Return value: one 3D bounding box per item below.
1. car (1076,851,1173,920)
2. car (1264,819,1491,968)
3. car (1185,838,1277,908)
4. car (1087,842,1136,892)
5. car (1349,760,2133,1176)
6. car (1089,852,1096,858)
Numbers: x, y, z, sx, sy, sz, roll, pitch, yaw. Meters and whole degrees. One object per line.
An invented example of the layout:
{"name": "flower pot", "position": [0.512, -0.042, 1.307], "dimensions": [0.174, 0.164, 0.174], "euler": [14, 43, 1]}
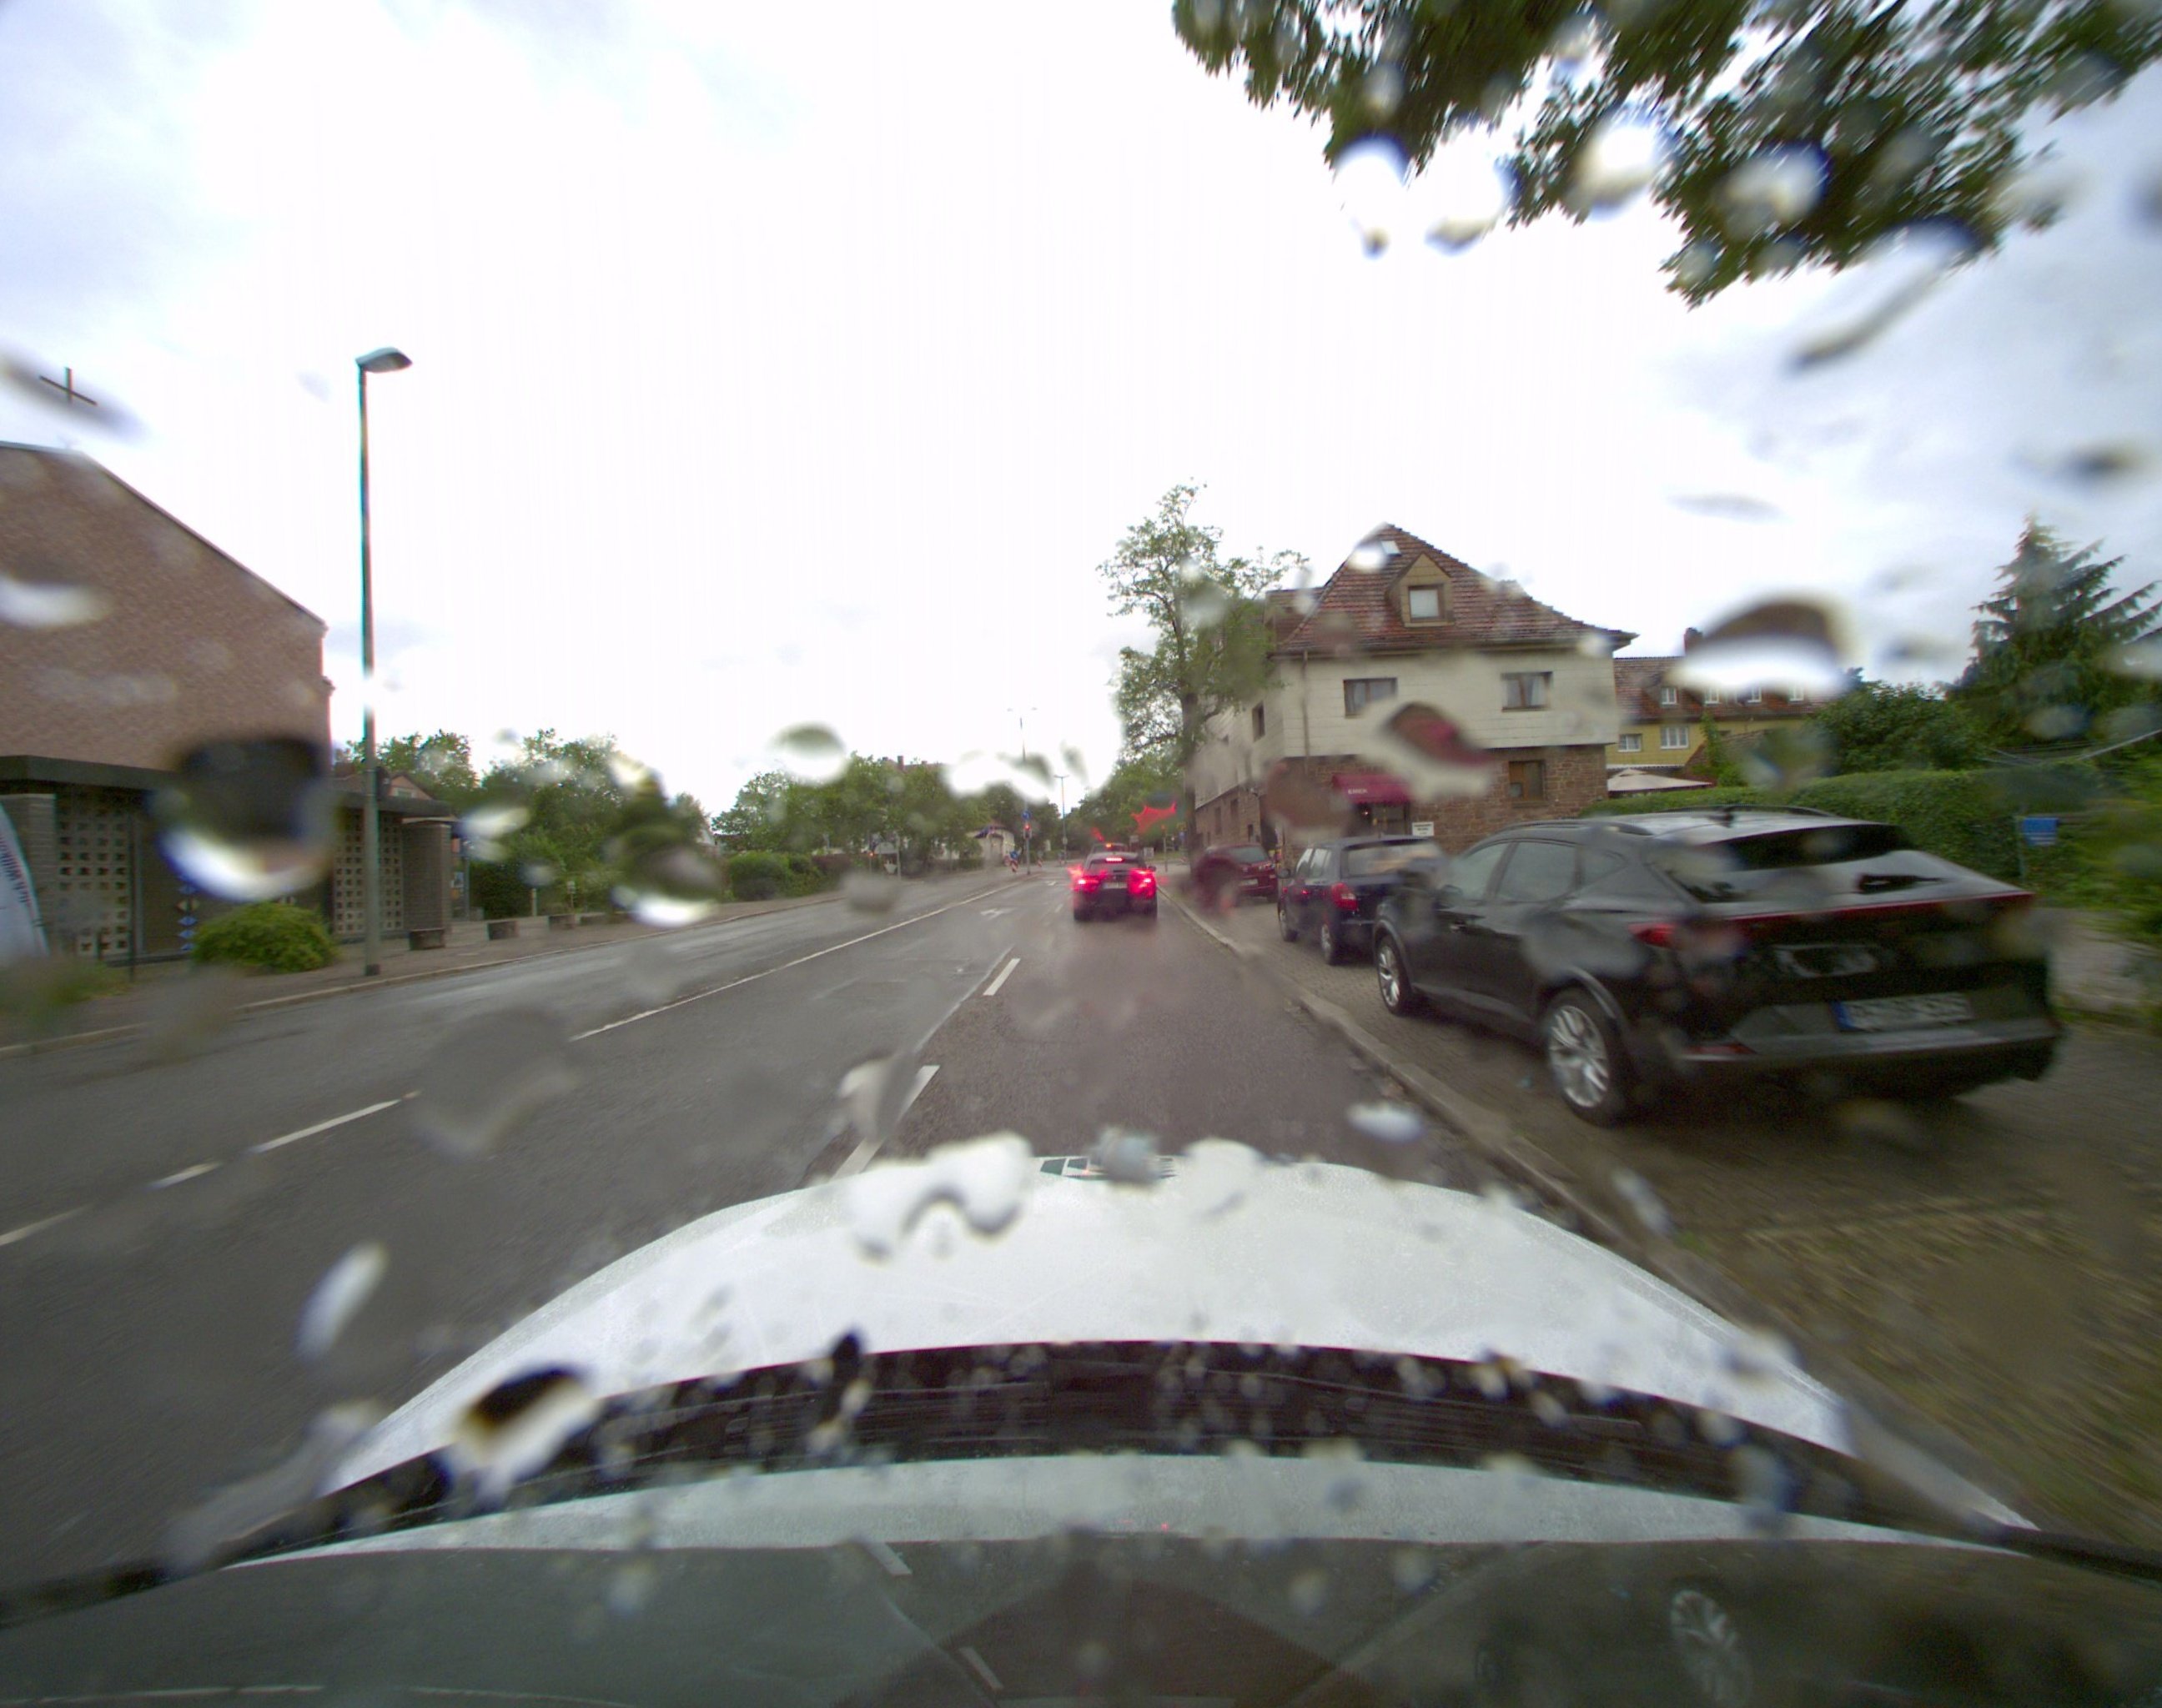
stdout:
{"name": "car", "position": [0.935, 0.681, 19.778], "dimensions": [2.058, 1.446, 4.482], "euler": [-1, 0, 0]}
{"name": "car", "position": [3.649, 0.413, 10.767], "dimensions": [1.598, 1.472, 3.858], "euler": [-5, 0, 2]}
{"name": "car", "position": [3.747, 0.420, 20.915], "dimensions": [1.579, 1.490, 3.627], "euler": [-5, 1, 0]}
{"name": "car", "position": [1.175, 0.483, 32.936], "dimensions": [1.778, 1.817, 4.000], "euler": [-2, 0, 0]}
{"name": "car", "position": [3.279, 0.439, 5.298], "dimensions": [1.708, 1.498, 4.185], "euler": [-5, 0, 2]}
{"name": "car", "position": [2.758, 0.129, 196.899], "dimensions": [1.459, 1.398, 3.323], "euler": [-2, 0, 2]}
